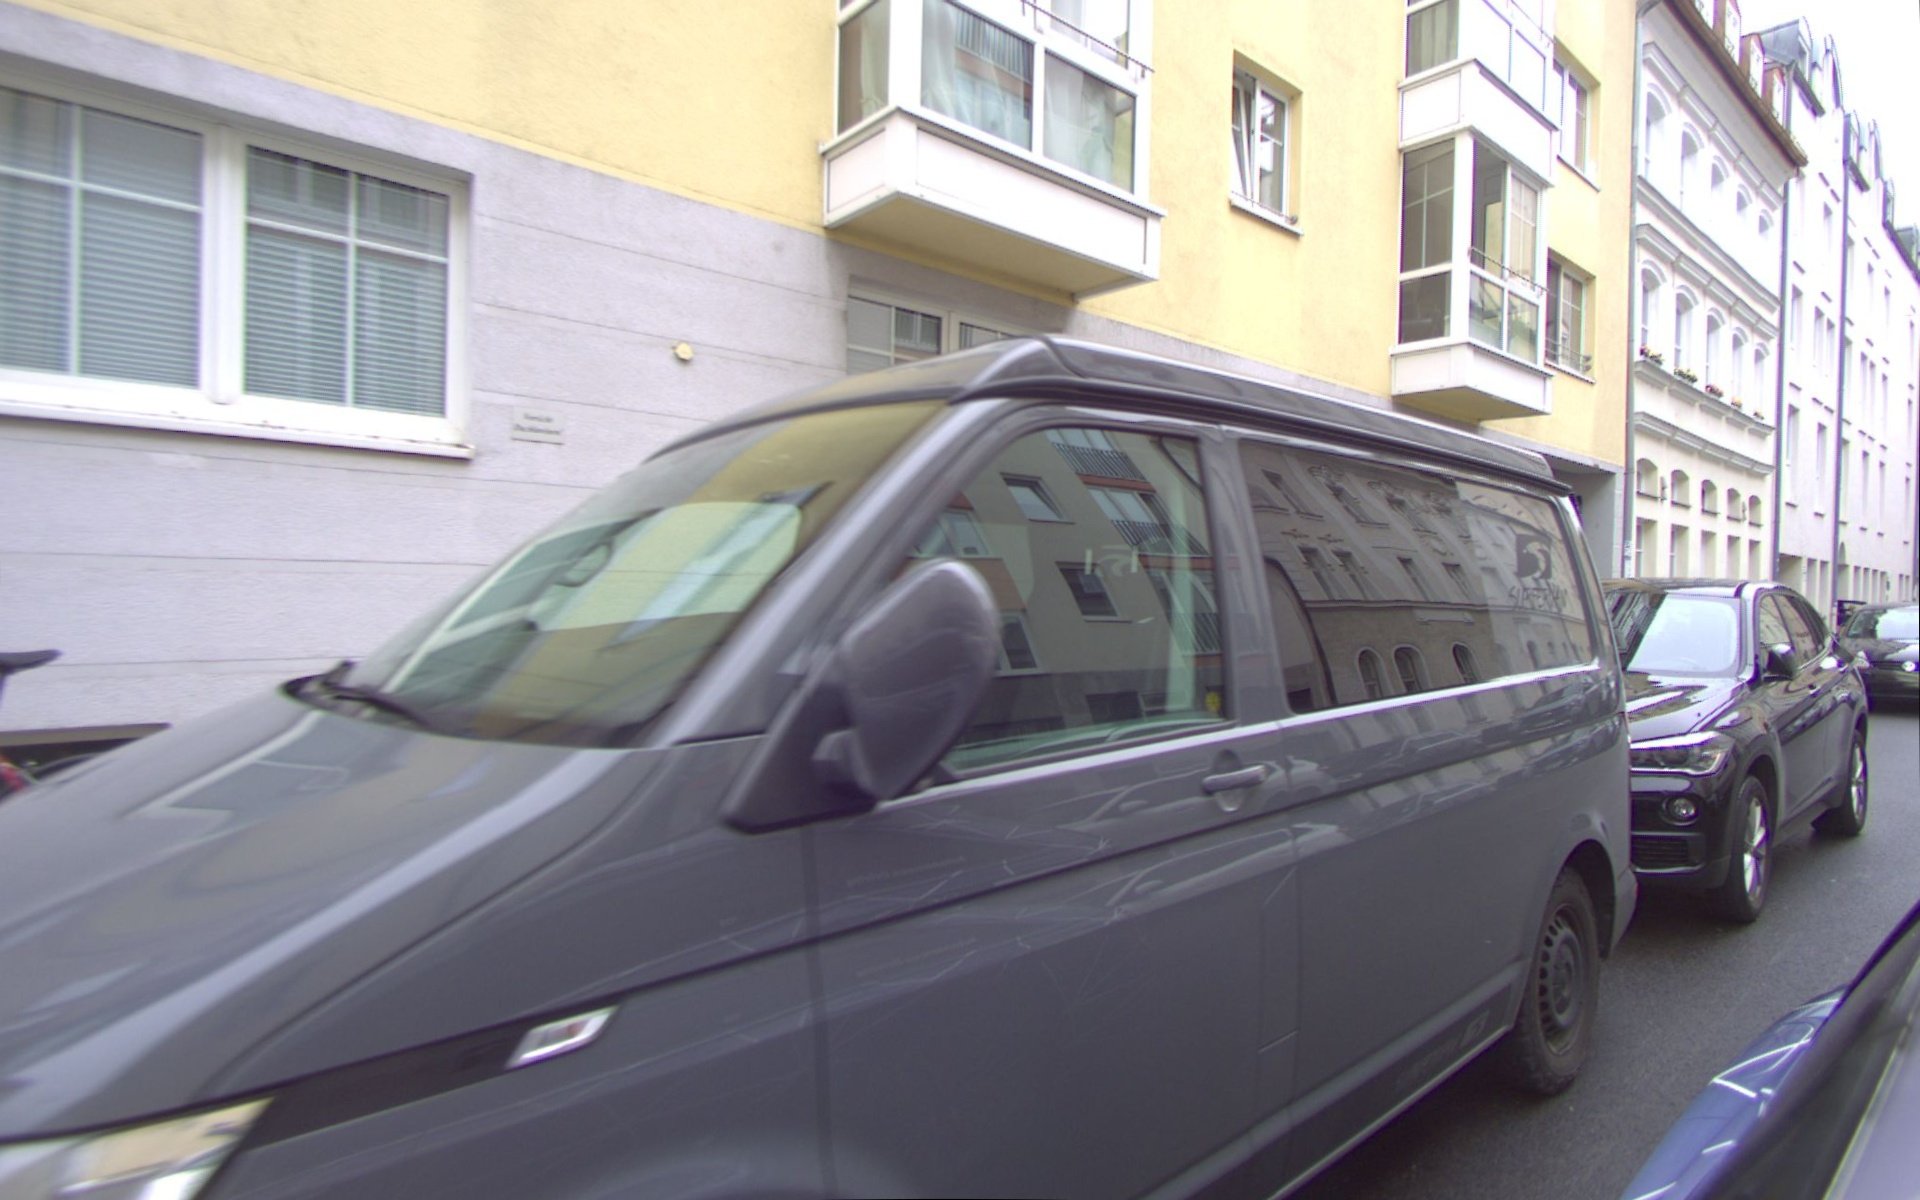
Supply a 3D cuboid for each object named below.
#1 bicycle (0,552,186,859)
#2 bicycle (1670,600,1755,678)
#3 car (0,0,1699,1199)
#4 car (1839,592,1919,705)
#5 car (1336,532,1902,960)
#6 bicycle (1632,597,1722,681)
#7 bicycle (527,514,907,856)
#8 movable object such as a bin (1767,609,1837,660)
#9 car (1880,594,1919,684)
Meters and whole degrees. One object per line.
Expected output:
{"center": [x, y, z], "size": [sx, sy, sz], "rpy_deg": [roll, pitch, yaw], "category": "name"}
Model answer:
{"center": [-3.400, 0.333, 3.259], "size": [1.420, 0.988, 0.422], "rpy_deg": [0, 1, -40], "category": "bicycle"}
{"center": [12.508, 0.638, 16.808], "size": [1.835, 1.175, 0.636], "rpy_deg": [2, 4, -40], "category": "bicycle"}
{"center": [0.316, 0.392, 2.894], "size": [5.019, 2.039, 1.876], "rpy_deg": [-1, 1, -41], "category": "car"}
{"center": [13.880, 0.616, 14.475], "size": [1.745, 1.459, 4.161], "rpy_deg": [0, 0, 44], "category": "car"}
{"center": [4.174, 0.566, 6.115], "size": [4.155, 1.707, 1.835], "rpy_deg": [0, 0, -41], "category": "car"}
{"center": [11.018, 0.590, 15.527], "size": [1.834, 1.176, 0.636], "rpy_deg": [2, 2, -40], "category": "bicycle"}
{"center": [-1.160, 0.404, 5.178], "size": [1.834, 1.490, 0.433], "rpy_deg": [3, -2, -40], "category": "bicycle"}
{"center": [17.003, 0.720, 20.423], "size": [1.620, 0.945, 0.739], "rpy_deg": [3, -7, -40], "category": "movable object such as a bin"}
{"center": [17.249, 0.634, 17.391], "size": [3.622, 1.459, 1.737], "rpy_deg": [0, 0, -41], "category": "car"}
